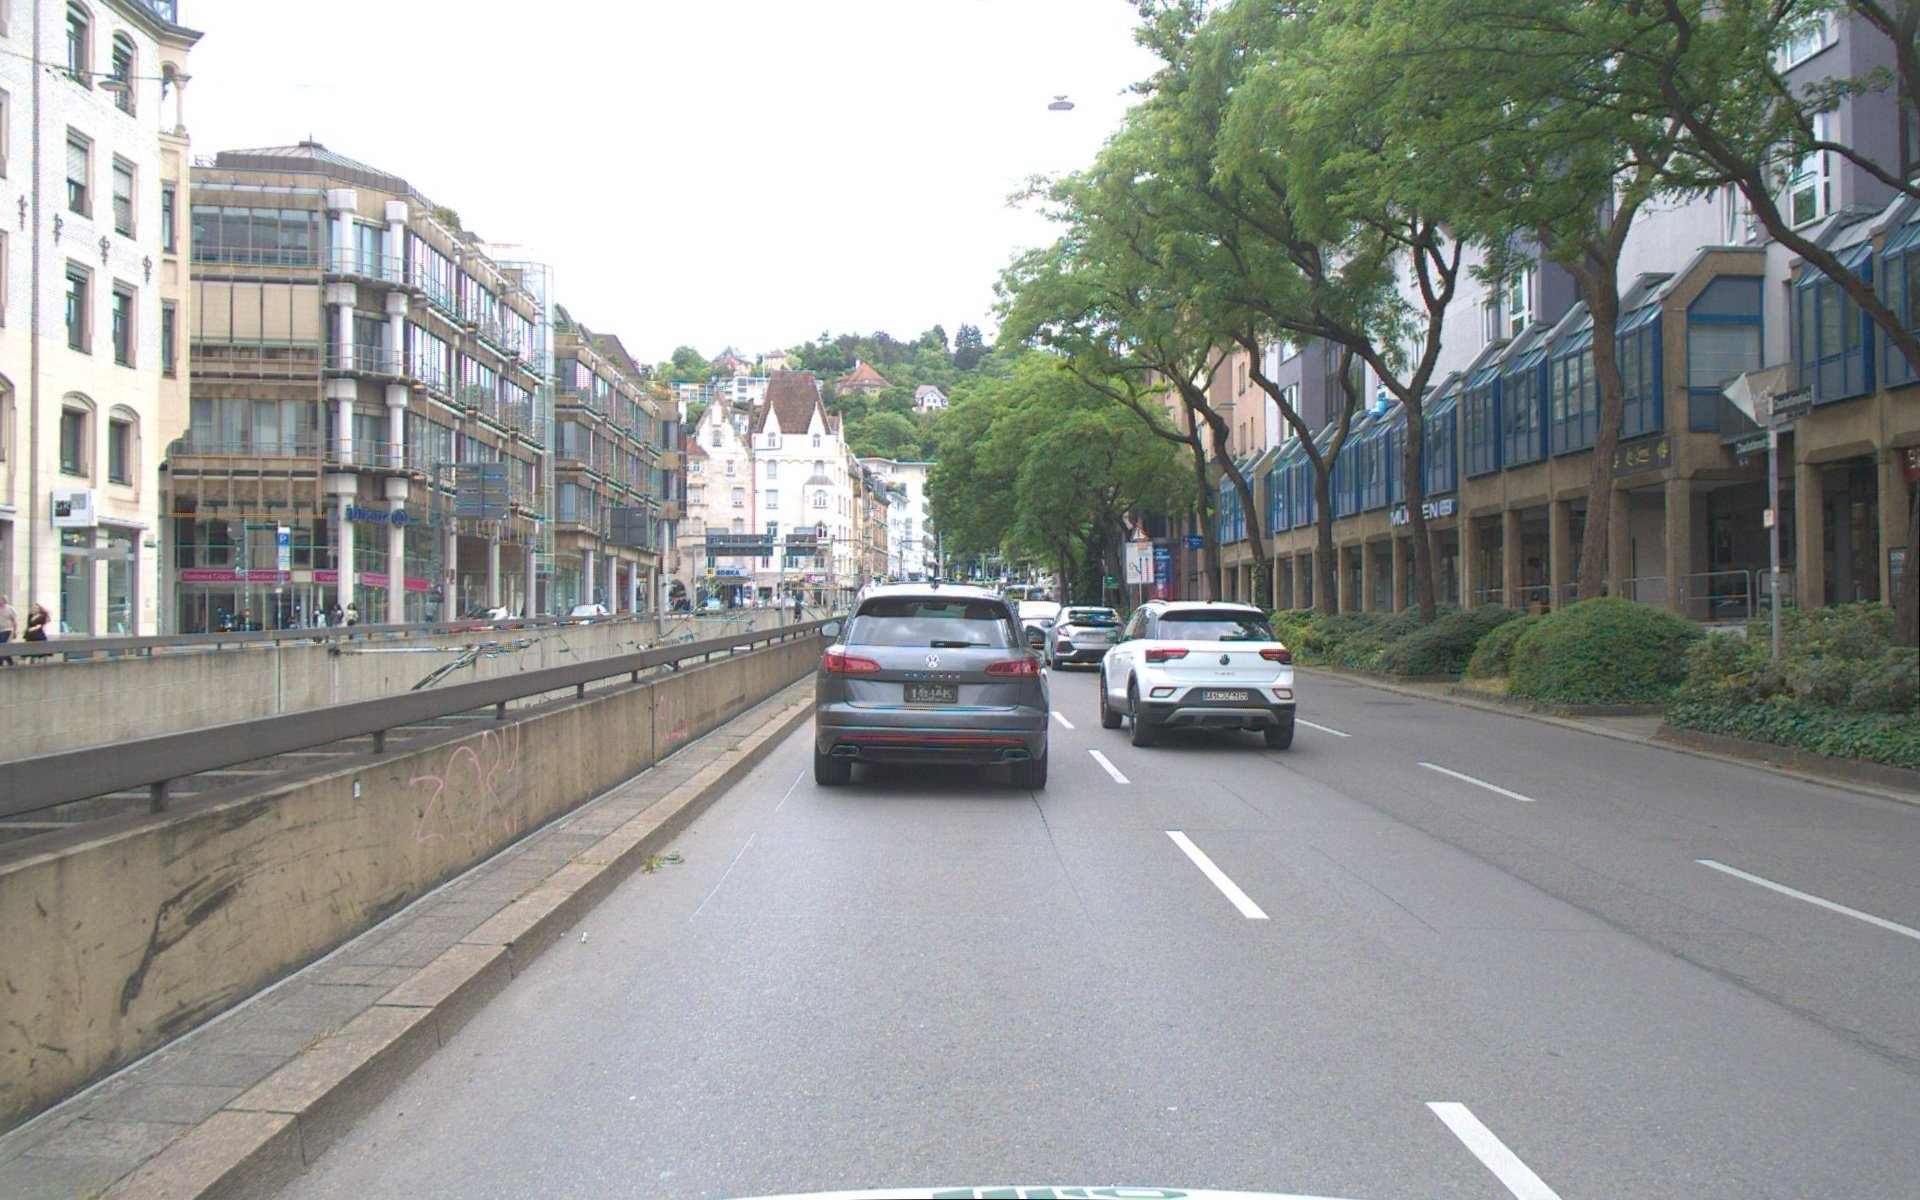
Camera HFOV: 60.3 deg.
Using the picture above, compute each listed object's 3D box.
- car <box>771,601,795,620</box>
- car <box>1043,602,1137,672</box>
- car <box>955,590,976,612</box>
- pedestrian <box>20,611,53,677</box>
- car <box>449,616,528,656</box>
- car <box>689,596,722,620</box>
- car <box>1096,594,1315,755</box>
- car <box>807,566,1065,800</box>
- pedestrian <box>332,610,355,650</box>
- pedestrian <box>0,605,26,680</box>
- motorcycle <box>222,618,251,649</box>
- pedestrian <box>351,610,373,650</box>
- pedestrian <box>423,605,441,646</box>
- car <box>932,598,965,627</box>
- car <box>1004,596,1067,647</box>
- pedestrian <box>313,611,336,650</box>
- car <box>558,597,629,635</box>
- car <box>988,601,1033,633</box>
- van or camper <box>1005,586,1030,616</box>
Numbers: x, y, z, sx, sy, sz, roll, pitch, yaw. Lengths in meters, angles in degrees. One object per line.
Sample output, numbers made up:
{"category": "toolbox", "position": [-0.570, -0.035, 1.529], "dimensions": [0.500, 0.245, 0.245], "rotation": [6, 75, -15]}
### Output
{"category": "car", "position": [-17.720, 1.019, 165.320], "dimensions": [1.953, 1.799, 4.280], "rotation": [-1, 0, -1]}
{"category": "car", "position": [2.939, 0.811, 38.239], "dimensions": [1.796, 1.457, 4.147], "rotation": [0, 1, -1]}
{"category": "car", "position": [0.505, 0.094, 147.389], "dimensions": [1.794, 1.907, 4.871], "rotation": [-1, 0, 1]}
{"category": "pedestrian", "position": [-22.347, 1.051, 40.030], "dimensions": [0.470, 1.564, 0.583], "rotation": [-1, 0, -3]}
{"category": "car", "position": [-18.890, 1.417, 66.493], "dimensions": [1.954, 1.490, 4.883], "rotation": [-1, 0, -3]}
{"category": "car", "position": [-20.216, 0.635, 131.499], "dimensions": [1.953, 1.799, 4.280], "rotation": [-1, 0, -1]}
{"category": "car", "position": [2.701, 0.763, 19.051], "dimensions": [1.761, 1.572, 3.934], "rotation": [2, 0, -2]}
{"category": "car", "position": [-0.251, 0.633, 14.781], "dimensions": [1.930, 1.725, 4.223], "rotation": [-2, 0, -2]}
{"category": "pedestrian", "position": [-24.838, 1.207, 66.620], "dimensions": [0.687, 1.571, 0.845], "rotation": [-1, 0, -8]}
{"category": "pedestrian", "position": [-22.969, 1.012, 39.938], "dimensions": [0.469, 1.788, 0.583], "rotation": [-1, 0, -1]}
{"category": "motorcycle", "position": [-31.815, 1.461, 72.755], "dimensions": [0.778, 1.279, 1.932], "rotation": [0, 0, -13]}
{"category": "pedestrian", "position": [-24.123, 1.196, 66.728], "dimensions": [0.687, 1.571, 0.845], "rotation": [-1, 0, -8]}
{"category": "pedestrian", "position": [-23.872, 1.152, 74.749], "dimensions": [0.521, 1.824, 0.694], "rotation": [2, -1, 0]}
{"category": "car", "position": [-0.692, 0.730, 95.340], "dimensions": [1.795, 1.594, 3.765], "rotation": [-1, 0, -2]}
{"category": "car", "position": [2.381, 0.671, 53.031], "dimensions": [1.794, 1.544, 3.767], "rotation": [-1, 0, 0]}
{"category": "pedestrian", "position": [-25.559, 1.223, 66.534], "dimensions": [0.687, 1.571, 0.845], "rotation": [-1, 0, -8]}
{"category": "car", "position": [-16.448, 0.695, 74.409], "dimensions": [1.952, 1.613, 4.888], "rotation": [-1, 0, 2]}
{"category": "car", "position": [2.271, 0.753, 75.180], "dimensions": [1.795, 1.387, 3.766], "rotation": [-1, 0, -2]}
{"category": "van or camper", "position": [6.405, 0.091, 185.650], "dimensions": [2.574, 3.234, 5.803], "rotation": [-1, 0, 0]}
